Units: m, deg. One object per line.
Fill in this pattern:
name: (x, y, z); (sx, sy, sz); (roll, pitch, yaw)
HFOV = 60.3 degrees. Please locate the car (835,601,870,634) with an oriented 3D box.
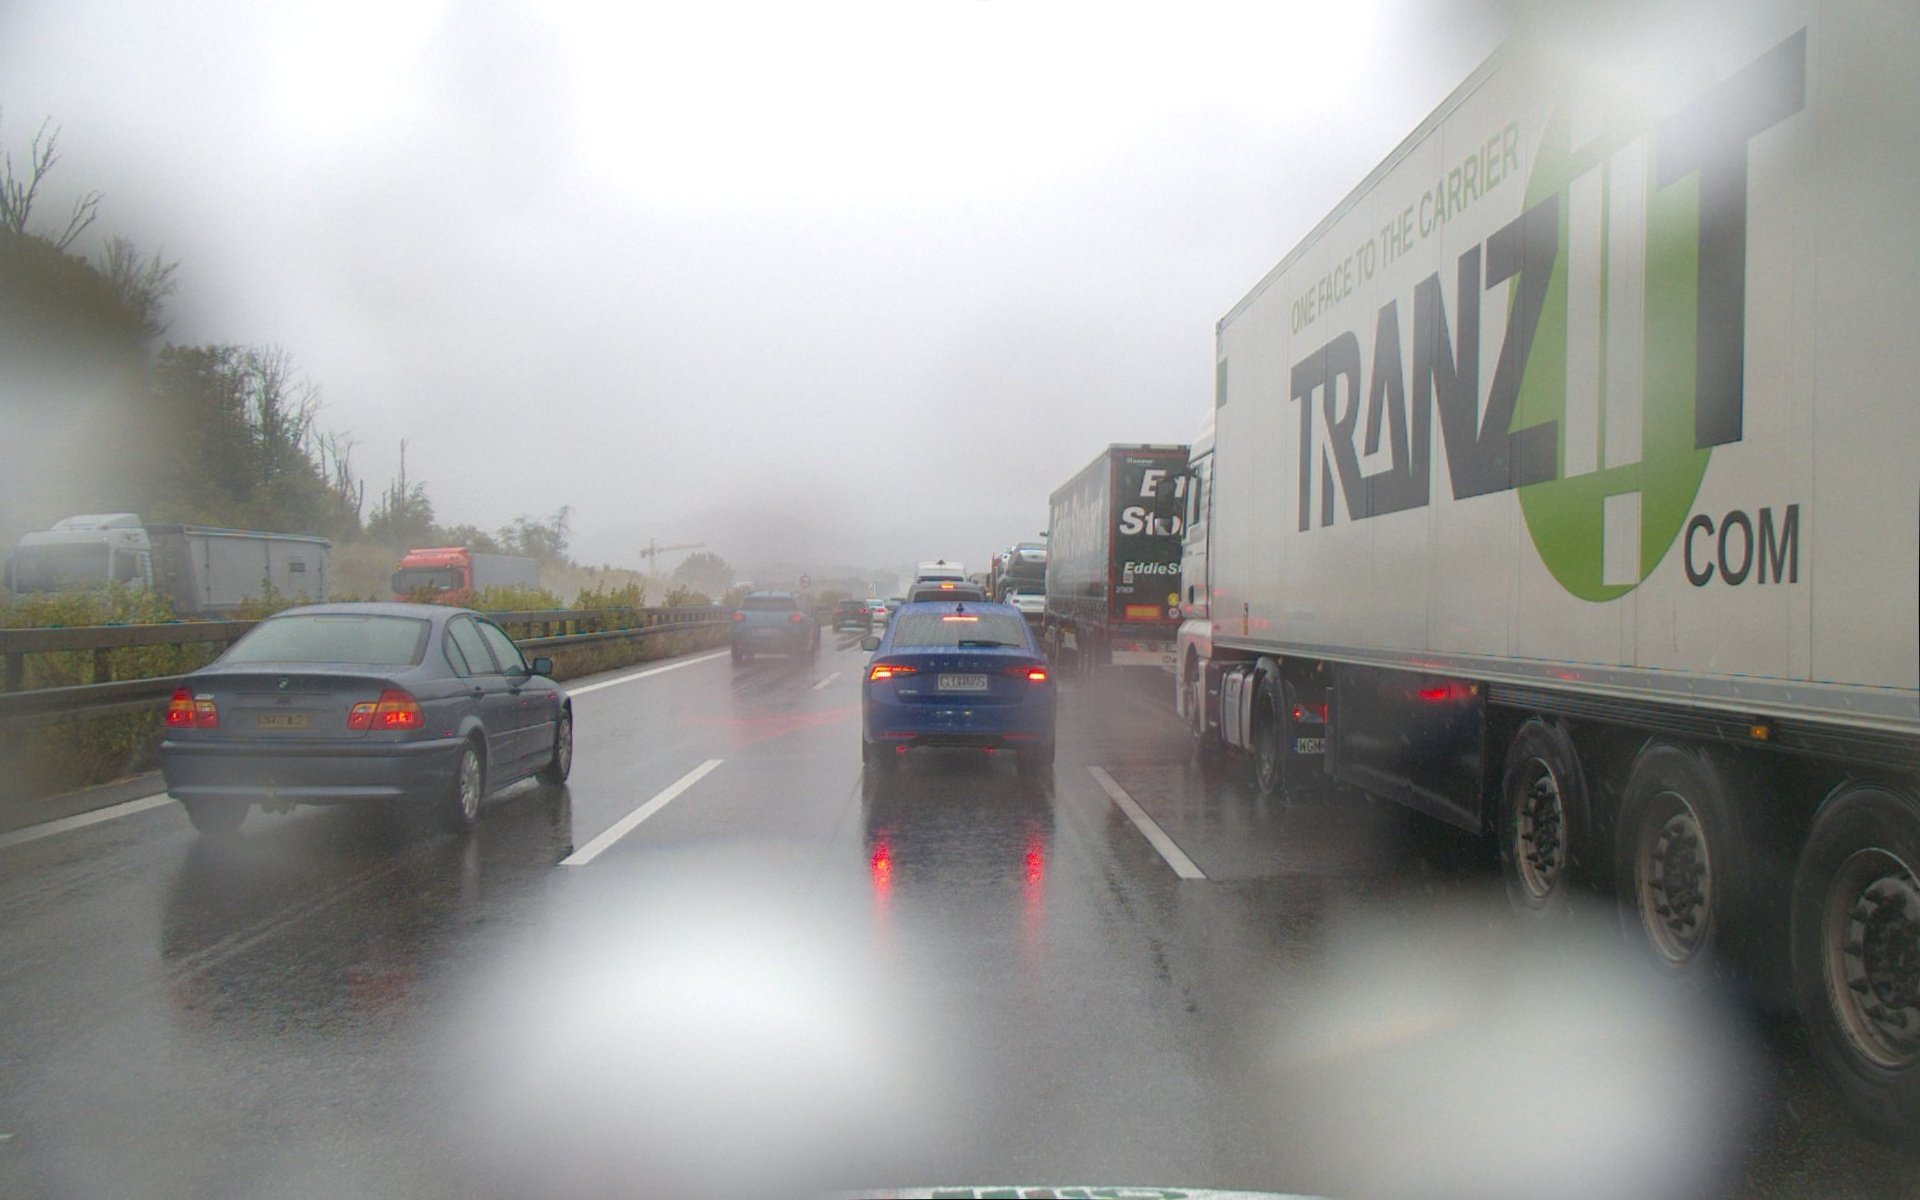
car: (-4.846, 0.773, 74.942); (1.410, 1.445, 3.321); (1, 0, -1)

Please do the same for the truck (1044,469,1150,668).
truck: (3.049, -0.689, 37.678); (2.005, 4.266, 4.000); (1, 0, -1)

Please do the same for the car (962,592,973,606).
car: (0.954, -0.122, 216.460); (1.419, 1.815, 3.409); (1, 0, -1)

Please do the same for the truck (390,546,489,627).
truck: (-21.606, -0.534, 68.850); (2.631, 3.207, 4.605); (1, 0, -1)

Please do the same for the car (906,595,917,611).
car: (-5.560, 0.301, 188.390); (1.168, 1.780, 3.075); (1, 1, -1)

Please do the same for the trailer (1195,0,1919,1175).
trailer: (3.663, -0.626, 8.787); (2.577, 4.083, 14.627); (1, 0, -1)

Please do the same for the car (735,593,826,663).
car: (-4.168, 0.617, 38.905); (1.686, 1.550, 4.000); (1, 0, 0)

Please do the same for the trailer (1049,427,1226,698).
trailer: (3.099, -0.632, 31.706); (2.005, 4.249, 11.446); (1, 0, -1)

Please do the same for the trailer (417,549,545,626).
trailer: (-21.661, -0.508, 75.499); (2.631, 3.207, 11.082); (1, 0, 0)

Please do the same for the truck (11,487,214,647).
truck: (-20.795, -0.771, 40.867); (2.632, 3.674, 4.604); (1, 0, -2)

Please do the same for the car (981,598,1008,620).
car: (2.241, 0.576, 108.541); (1.605, 1.351, 3.366); (1, 1, -1)

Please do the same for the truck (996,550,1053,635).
truck: (2.764, -0.366, 72.643); (1.953, 3.481, 8.029); (1, 1, -2)

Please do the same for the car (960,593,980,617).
car: (0.768, 0.371, 125.151); (1.419, 1.815, 3.409); (1, 0, -1)

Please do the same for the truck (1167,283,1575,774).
truck: (3.583, -0.585, 15.592); (2.577, 3.894, 4.790); (1, 0, -1)

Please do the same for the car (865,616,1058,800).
car: (0.017, 0.924, 15.794); (1.602, 1.470, 4.000); (1, 0, 0)

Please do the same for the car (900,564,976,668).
car: (-0.394, 0.261, 30.561); (1.309, 1.811, 3.321); (1, 0, -1)

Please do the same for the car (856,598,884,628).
car: (-5.013, 0.708, 92.216); (1.410, 1.560, 3.321); (1, 0, -1)

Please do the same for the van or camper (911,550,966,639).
van or camper: (-0.710, -0.187, 55.506); (1.761, 2.855, 4.767); (1, 0, -1)

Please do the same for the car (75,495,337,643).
car: (-21.110, -0.776, 47.249); (2.632, 3.674, 10.970); (1, 0, -1)

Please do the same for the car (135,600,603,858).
car: (-3.788, 0.728, 11.436); (1.683, 1.424, 4.230); (1, 0, 0)
